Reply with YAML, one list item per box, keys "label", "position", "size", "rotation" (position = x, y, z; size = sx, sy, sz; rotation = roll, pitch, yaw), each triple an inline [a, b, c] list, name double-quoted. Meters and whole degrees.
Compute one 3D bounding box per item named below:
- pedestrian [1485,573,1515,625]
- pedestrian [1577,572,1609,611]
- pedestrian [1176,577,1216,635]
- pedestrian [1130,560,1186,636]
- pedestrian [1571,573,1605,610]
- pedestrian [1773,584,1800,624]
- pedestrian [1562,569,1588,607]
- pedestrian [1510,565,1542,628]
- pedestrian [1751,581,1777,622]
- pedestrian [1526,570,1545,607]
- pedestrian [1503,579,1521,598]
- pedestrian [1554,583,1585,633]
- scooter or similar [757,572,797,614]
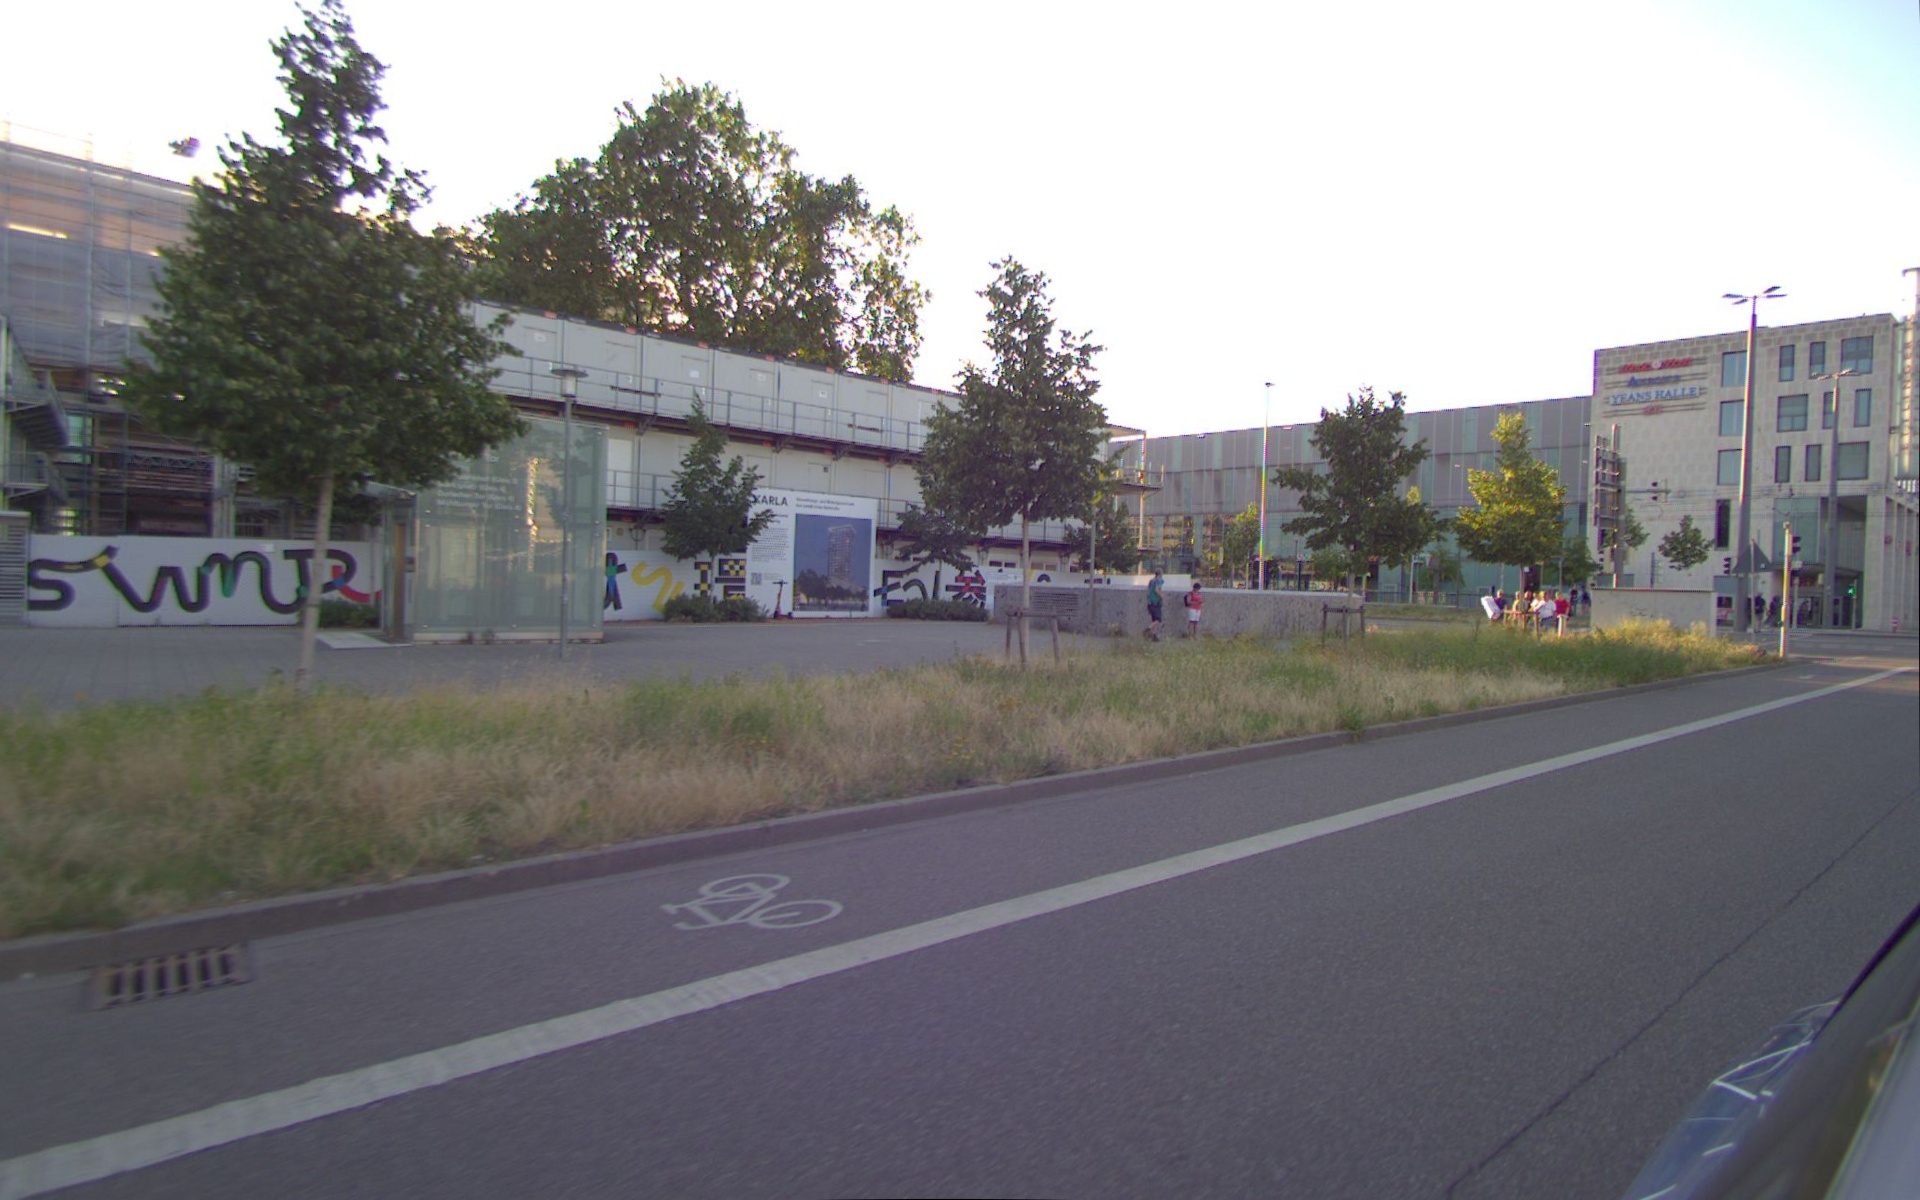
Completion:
- label: "pedestrian"
  position: [18.245, -0.042, 34.201]
  size: [0.749, 1.734, 0.643]
  rotation: [2, 0, -42]
- label: "pedestrian"
  position: [31.733, -0.426, 50.752]
  size: [0.986, 1.876, 0.896]
  rotation: [0, 4, -28]
- label: "pedestrian"
  position: [6.307, 0.163, 27.049]
  size: [0.633, 1.509, 0.762]
  rotation: [3, 0, -39]
- label: "pedestrian"
  position: [4.931, -0.057, 25.227]
  size: [1.026, 1.838, 0.817]
  rotation: [2, 0, -35]
- label: "pedestrian"
  position: [30.966, -0.433, 49.906]
  size: [0.986, 1.744, 0.873]
  rotation: [1, 4, -14]
- label: "pedestrian"
  position: [34.979, 0.165, 42.826]
  size: [0.855, 1.680, 0.644]
  rotation: [0, 1, -38]
- label: "pedestrian"
  position: [31.413, -0.605, 51.703]
  size: [0.882, 1.876, 0.723]
  rotation: [3, 4, 17]
- label: "pedestrian"
  position: [17.845, -0.122, 31.913]
  size: [0.608, 1.957, 0.644]
  rotation: [0, 1, -38]
- label: "pedestrian"
  position: [34.495, 0.059, 43.409]
  size: [0.855, 1.752, 0.644]
  rotation: [0, 1, -38]
- label: "pedestrian"
  position: [29.200, -0.583, 51.385]
  size: [0.575, 1.877, 0.604]
  rotation: [1, 1, -37]
- label: "pedestrian"
  position: [28.523, -0.584, 52.287]
  size: [0.648, 0.975, 0.644]
  rotation: [2, 1, 45]
- label: "pedestrian"
  position: [21.510, 0.284, 35.709]
  size: [0.856, 1.734, 0.643]
  rotation: [2, 0, -42]
- label: "scooter or similar"
  position: [-5.666, -0.237, 31.280]
  size: [0.466, 1.235, 1.572]
  rotation: [0, 2, -42]
